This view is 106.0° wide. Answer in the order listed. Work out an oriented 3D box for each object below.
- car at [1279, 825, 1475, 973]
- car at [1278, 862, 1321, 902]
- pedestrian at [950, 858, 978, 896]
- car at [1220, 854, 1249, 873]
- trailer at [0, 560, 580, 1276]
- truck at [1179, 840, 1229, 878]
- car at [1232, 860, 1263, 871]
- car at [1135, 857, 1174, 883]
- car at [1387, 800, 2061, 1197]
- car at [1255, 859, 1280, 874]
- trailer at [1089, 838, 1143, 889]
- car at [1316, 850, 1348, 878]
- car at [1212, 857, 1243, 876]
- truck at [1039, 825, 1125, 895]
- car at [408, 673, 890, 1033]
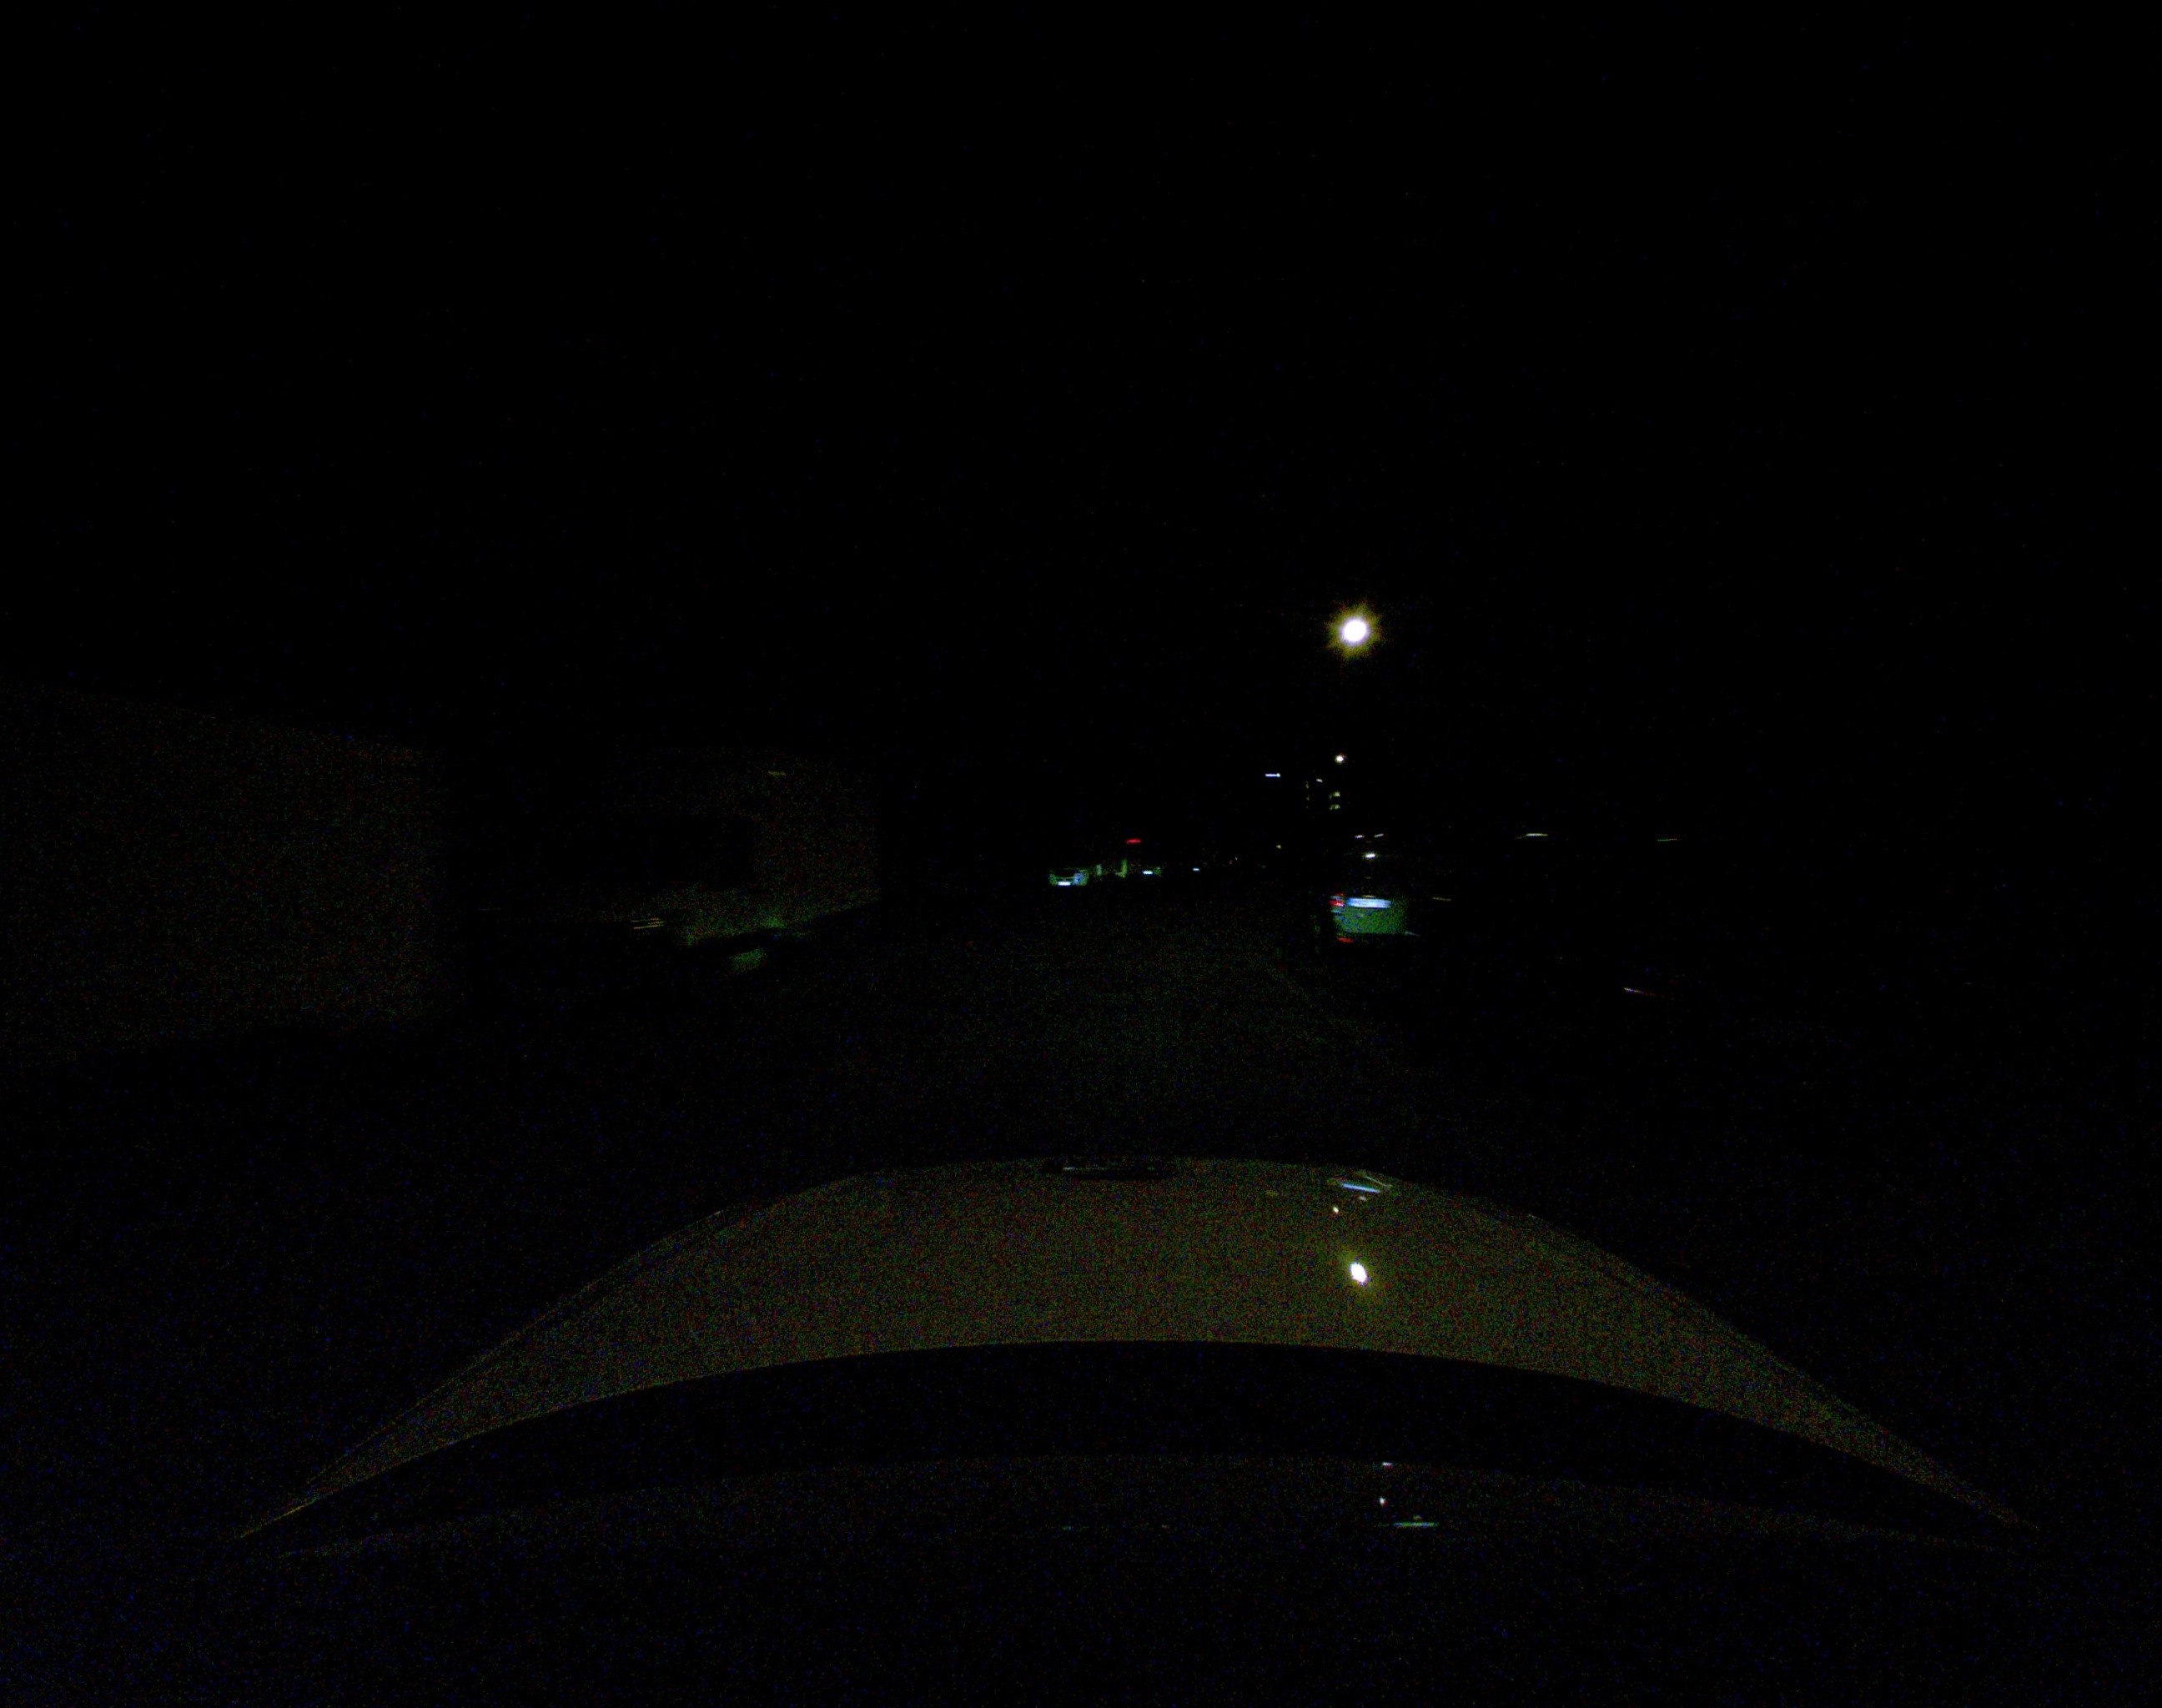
[{"bbox_3d":[4.709,0.640,13.869,1.983,2.014,5.365,0,-1,7],"label":"car"},{"bbox_3d":[9.091,1.104,34.085,1.597,1.512,3.839,2,0,13],"label":"car"},{"bbox_3d":[-5.341,1.050,37.202,0.770,1.671,1.012,-2,-1,41],"label":"pedestrian"},{"bbox_3d":[18.911,1.159,100.129,1.974,2.321,4.997,-3,-2,30],"label":"car"},{"bbox_3d":[-5.088,0.276,4.416,1.988,2.765,4.004,-2,-1,4],"label":"trailer"},{"bbox_3d":[11.309,0.449,74.133,2.520,3.280,7.354,-1,-1,25],"label":"truck"},{"bbox_3d":[23.990,1.662,117.514,3.950,1.571,1.828,-2,-1,26],"label":"car"},{"bbox_3d":[5.347,1.121,58.632,1.978,1.772,4.712,-1,-1,16],"label":"car"},{"bbox_3d":[3.727,0.665,5.881,1.721,1.780,4.321,0,0,4],"label":"car"},{"bbox_3d":[22.190,1.503,96.876,1.739,1.526,4.349,2,2,28],"label":"car"},{"bbox_3d":[2.108,0.552,47.667,2.188,2.795,4.635,-1,-1,15],"label":"trailer"},{"bbox_3d":[23.865,0.881,77.280,2.002,2.526,6.086,0,0,25],"label":"car"},{"bbox_3d":[14.411,1.237,80.053,1.812,1.817,4.866,-1,-1,25],"label":"car"},{"bbox_3d":[0.203,0.301,41.448,2.355,3.243,7.263,-1,-1,17],"label":"truck"},{"bbox_3d":[-4.773,0.021,11.004,2.372,3.243,7.236,0,-1,3],"label":"car"}]
